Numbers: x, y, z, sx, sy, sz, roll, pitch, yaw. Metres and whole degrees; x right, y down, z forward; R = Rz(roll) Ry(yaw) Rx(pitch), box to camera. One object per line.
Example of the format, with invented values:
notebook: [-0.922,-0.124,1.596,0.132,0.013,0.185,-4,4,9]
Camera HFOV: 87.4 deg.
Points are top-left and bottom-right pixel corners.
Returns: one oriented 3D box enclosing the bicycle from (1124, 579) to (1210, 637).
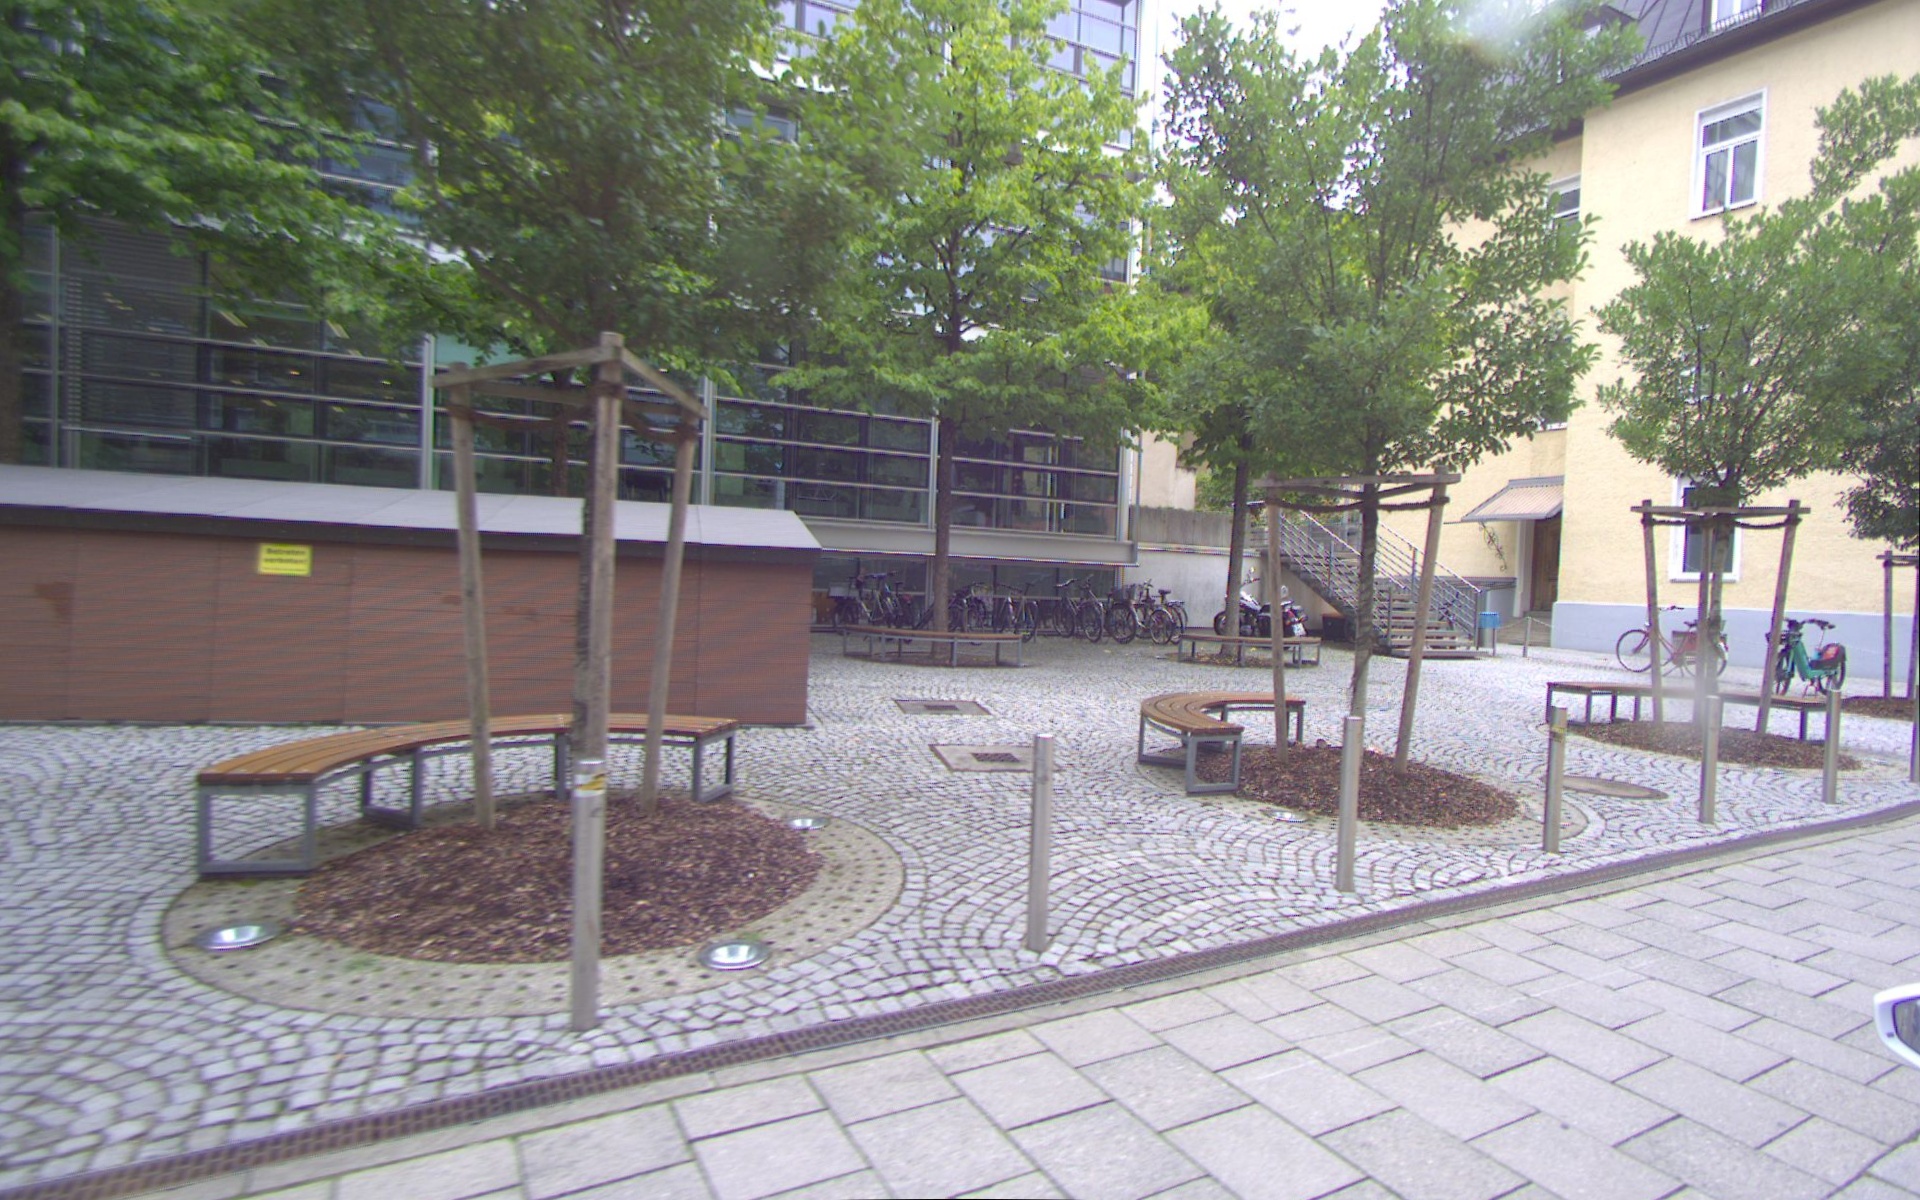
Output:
bicycle: [4.123,0.166,19.992,1.771,1.106,0.414,1,1,-26]

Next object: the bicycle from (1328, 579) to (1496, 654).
bicycle: [8.971,0.281,20.173,0.757,1.268,3.209,1,3,-29]

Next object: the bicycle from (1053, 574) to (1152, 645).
bicycle: [2.508,0.147,17.924,0.815,1.141,1.891,1,2,-25]

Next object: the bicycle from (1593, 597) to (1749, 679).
bicycle: [11.805,0.600,16.758,0.737,1.188,1.968,2,2,-25]

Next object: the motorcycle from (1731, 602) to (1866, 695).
motorcycle: [11.514,0.671,13.786,1.953,1.188,0.574,2,2,-25]

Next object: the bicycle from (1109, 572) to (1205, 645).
bicycle: [3.577,0.132,18.419,0.688,1.220,1.891,1,2,-25]

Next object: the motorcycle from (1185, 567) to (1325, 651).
motorcycle: [5.451,0.130,18.778,0.957,1.431,2.656,1,2,-25]

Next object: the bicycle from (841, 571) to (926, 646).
bicycle: [-1.251,0.105,15.975,0.695,1.073,1.891,1,2,-25]

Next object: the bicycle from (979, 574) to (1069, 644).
bicycle: [1.066,0.130,17.214,0.698,1.090,1.891,1,2,-25]

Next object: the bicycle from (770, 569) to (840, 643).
bicycle: [-2.425,0.074,15.549,0.620,1.074,1.566,1,2,-26]

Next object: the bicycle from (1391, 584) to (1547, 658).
bicycle: [10.261,0.388,20.421,0.757,1.268,2.839,1,3,-29]

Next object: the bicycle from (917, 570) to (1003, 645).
bicycle: [-0.030,0.104,16.635,0.657,1.121,1.891,1,2,-25]
